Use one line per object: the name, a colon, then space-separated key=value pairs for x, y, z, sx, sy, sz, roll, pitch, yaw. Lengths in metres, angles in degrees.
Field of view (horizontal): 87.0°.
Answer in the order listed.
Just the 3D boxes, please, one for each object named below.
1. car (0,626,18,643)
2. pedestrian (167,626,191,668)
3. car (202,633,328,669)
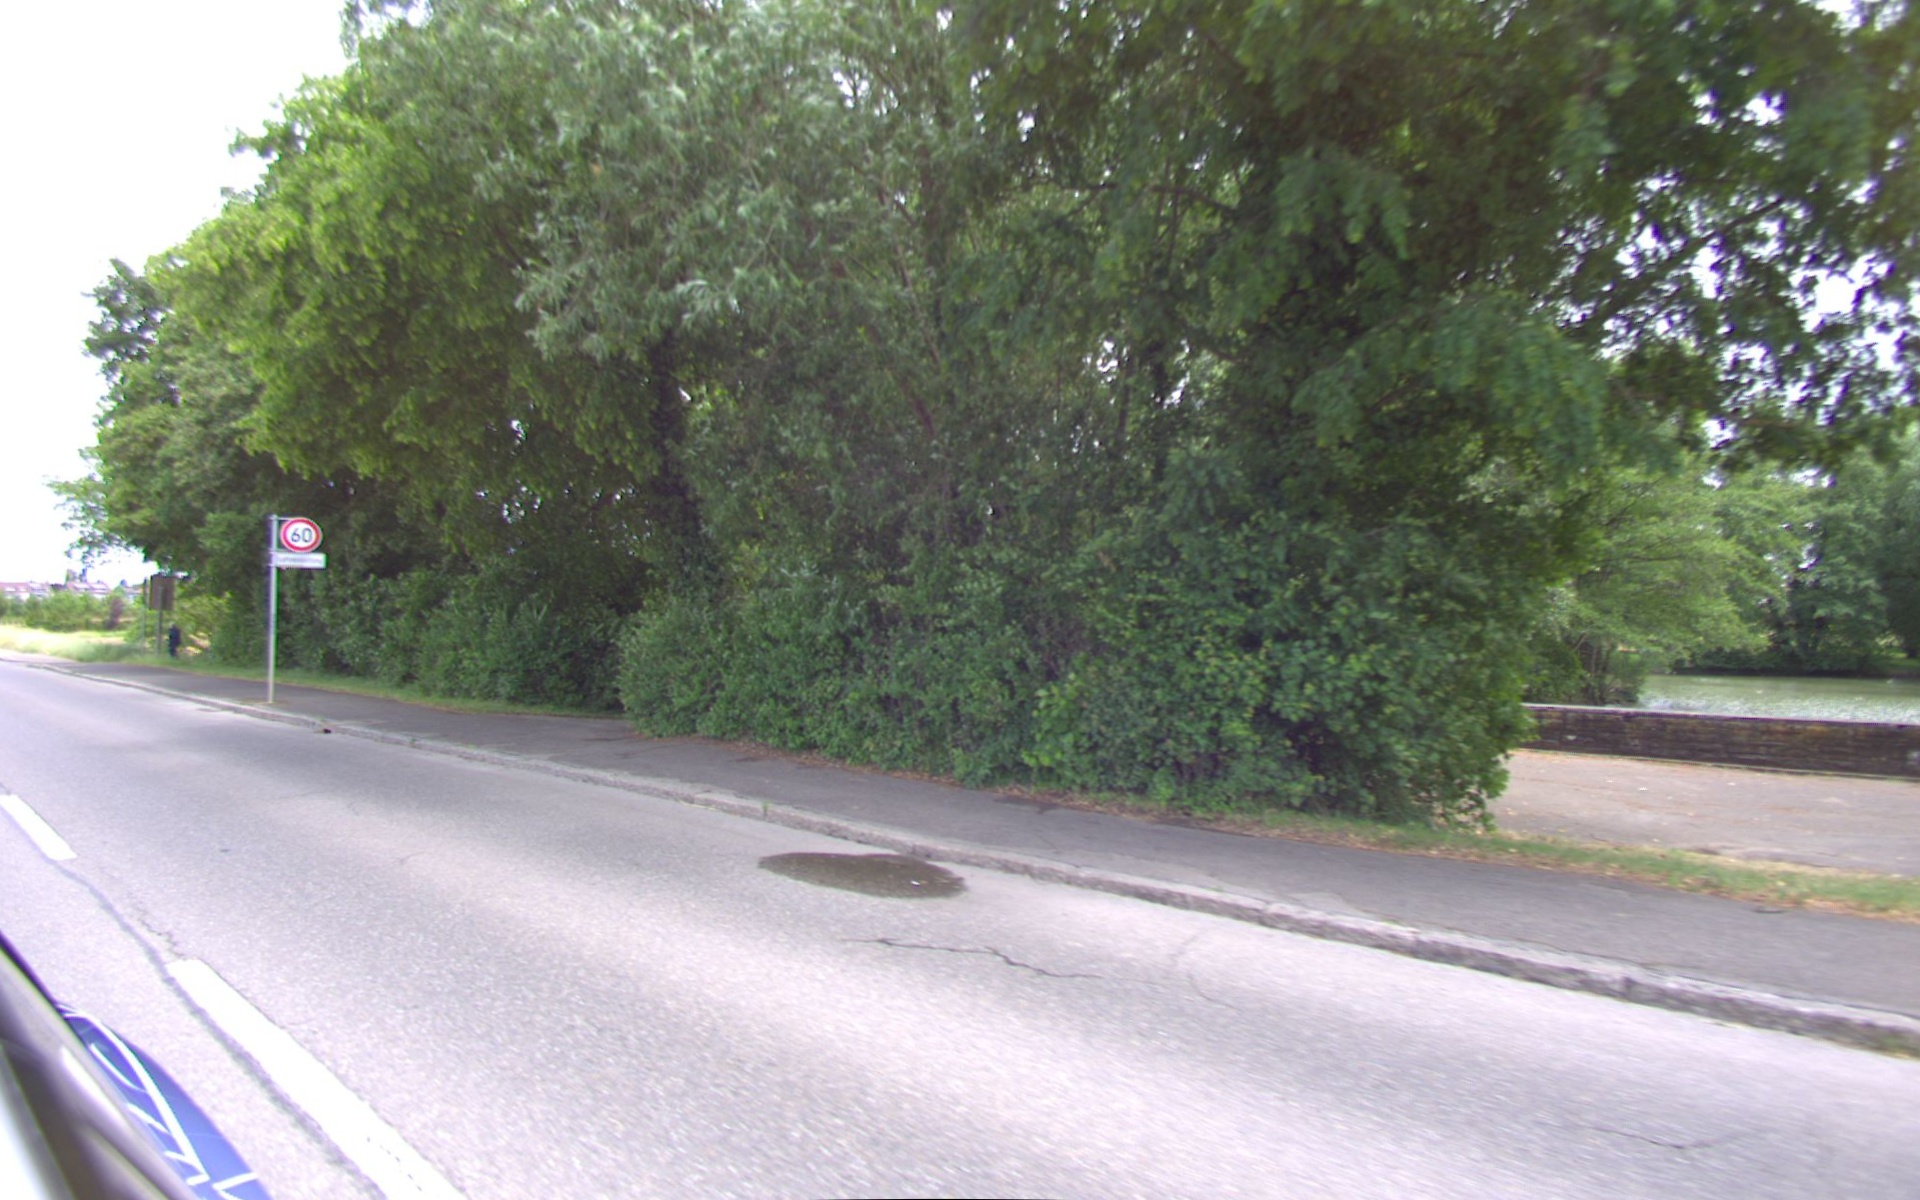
car: x=-75.470 y=2.703 z=79.810 sx=3.598 sy=1.260 sz=1.433 roll=0 pitch=0 yaw=41
pedestrian: x=-30.389 y=1.816 z=39.365 sx=0.695 sy=1.606 sz=0.708 roll=1 pitch=-4 yaw=-38
car: x=-27.962 y=2.075 z=40.789 sx=3.938 sy=1.321 sz=1.747 roll=4 pitch=-3 yaw=-41
